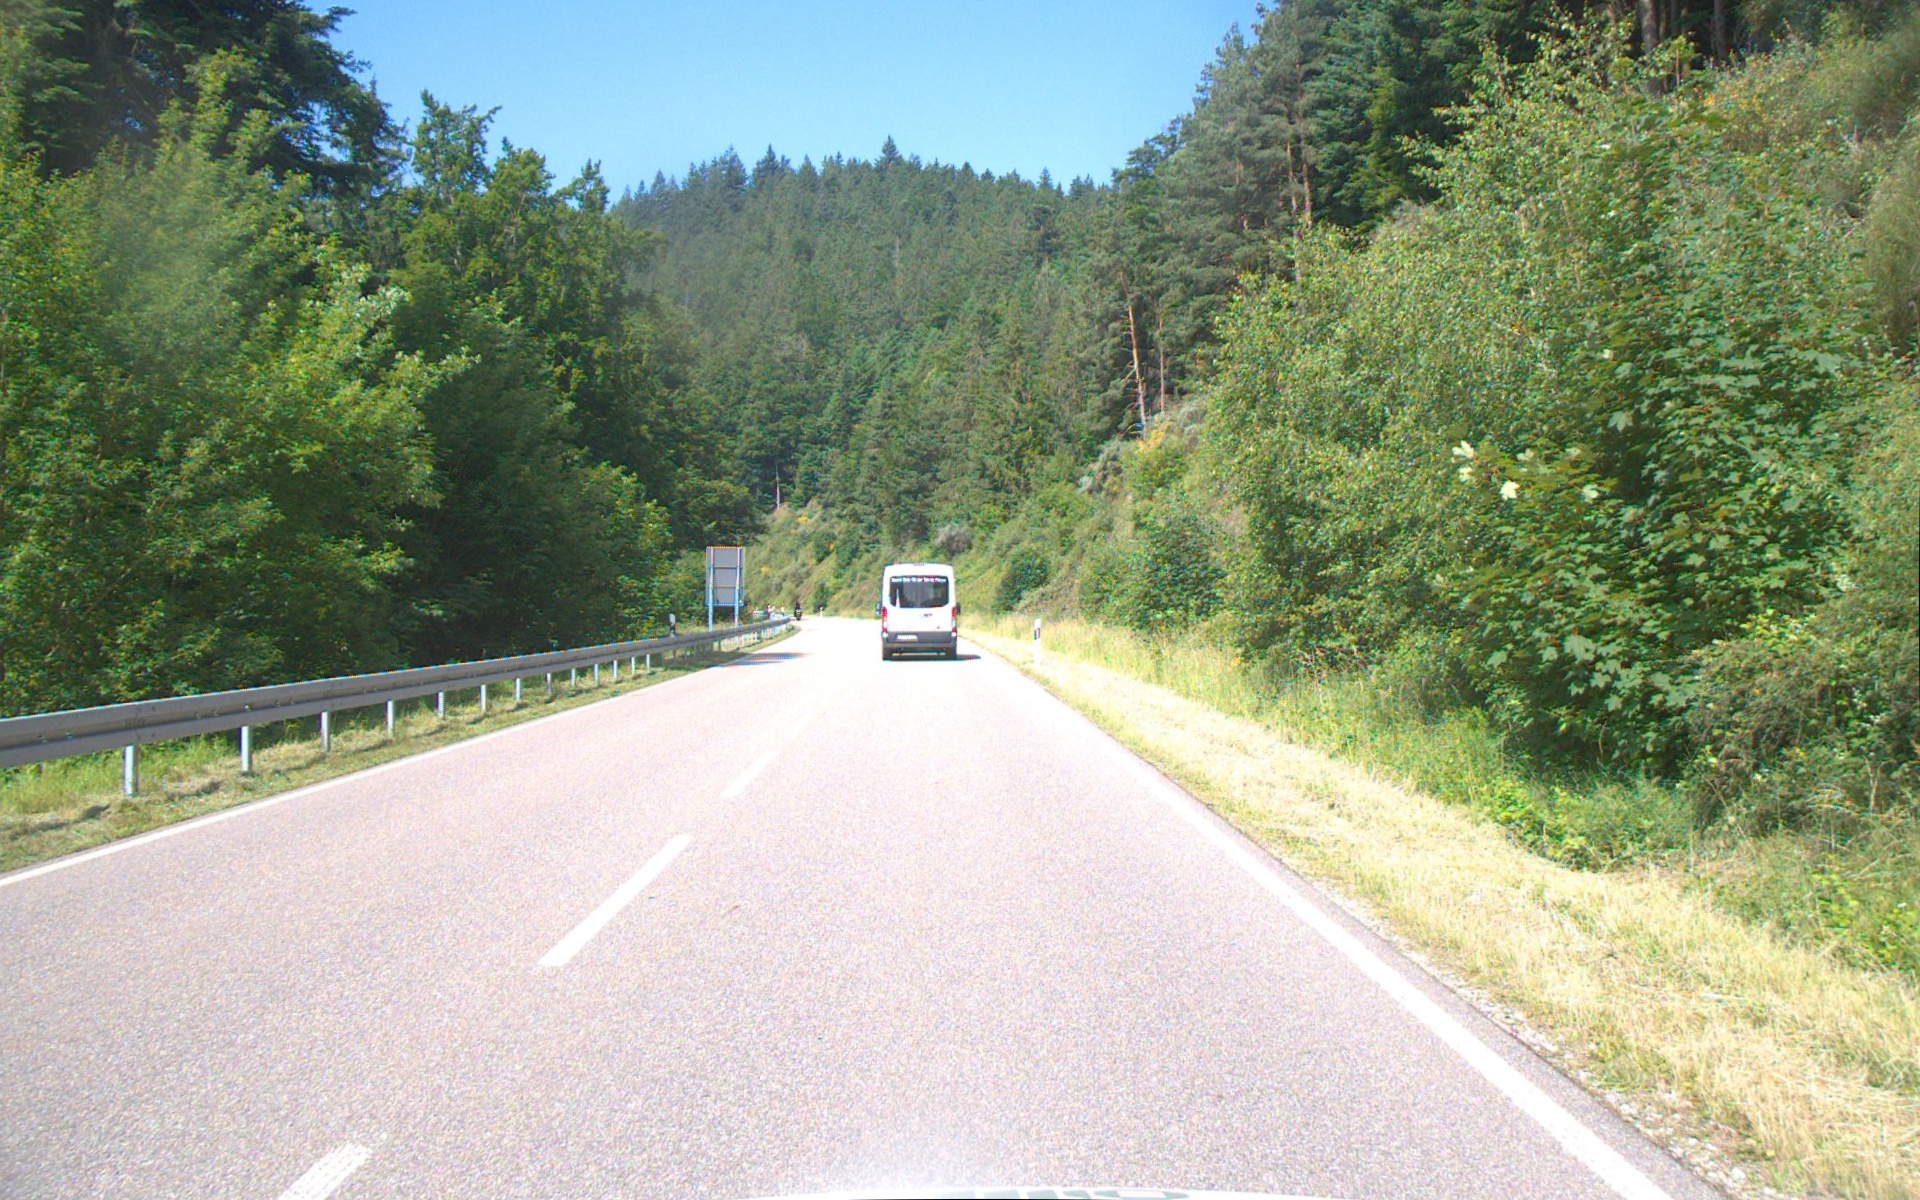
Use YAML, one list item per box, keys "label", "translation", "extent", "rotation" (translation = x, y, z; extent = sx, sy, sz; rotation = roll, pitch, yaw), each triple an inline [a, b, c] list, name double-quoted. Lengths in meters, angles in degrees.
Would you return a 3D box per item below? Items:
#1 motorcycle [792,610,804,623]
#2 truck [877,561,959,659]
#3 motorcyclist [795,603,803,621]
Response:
- label: "motorcycle"
  translation: [-14.141, 1.420, 144.375]
  extent: [0.965, 1.090, 1.961]
  rotation: [-1, 0, -3]
- label: "truck"
  translation: [-1.193, 0.260, 44.551]
  extent: [2.042, 2.503, 4.871]
  rotation: [0, 0, -4]
- label: "motorcyclist"
  translation: [-14.085, 1.015, 144.412]
  extent: [0.645, 1.539, 0.933]
  rotation: [-1, 0, -4]
